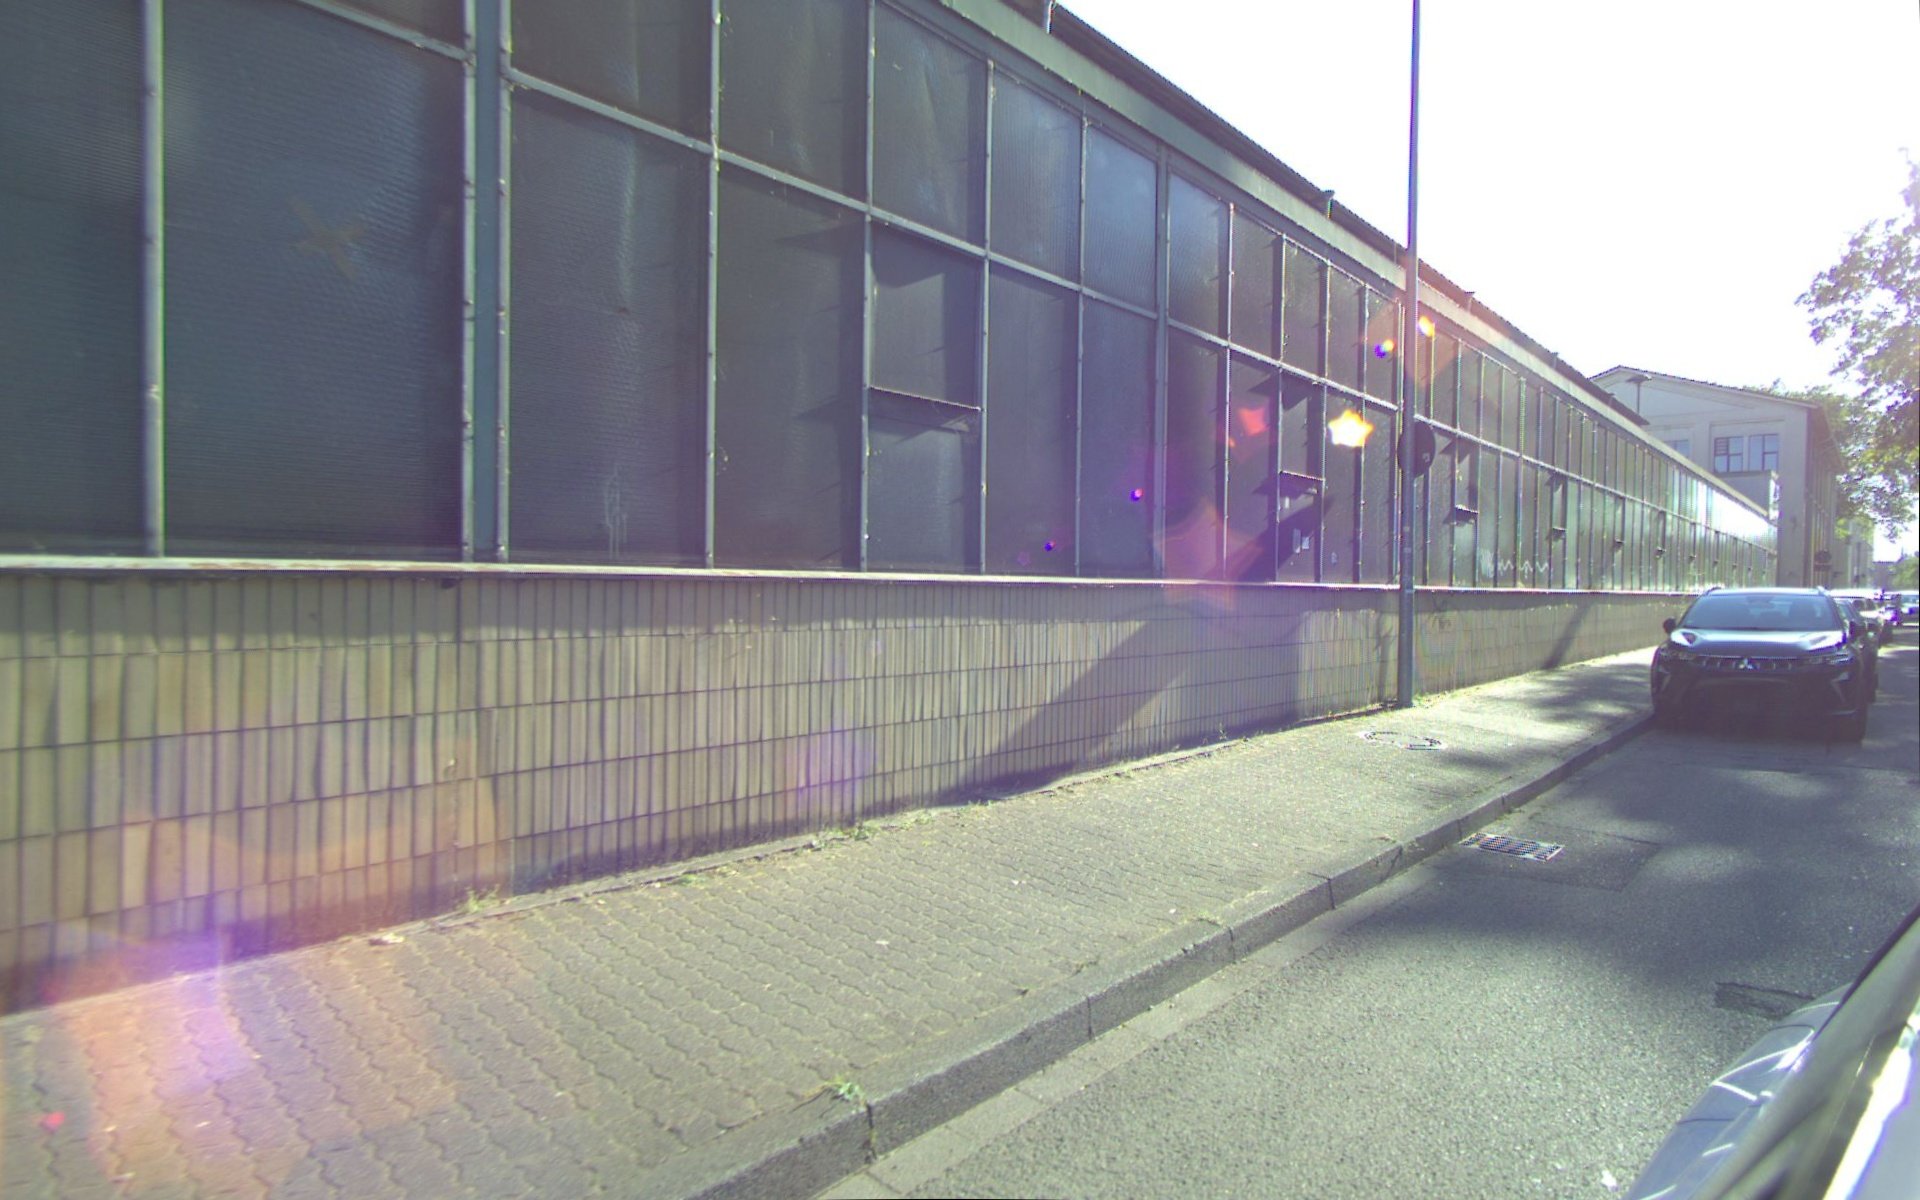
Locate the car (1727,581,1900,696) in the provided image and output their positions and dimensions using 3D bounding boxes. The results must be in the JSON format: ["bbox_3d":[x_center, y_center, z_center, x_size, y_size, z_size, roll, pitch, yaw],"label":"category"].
[{"bbox_3d":[13.290,0.467,15.656,1.751,1.509,4.548,2,2,44],"label":"car"}]

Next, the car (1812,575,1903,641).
[{"bbox_3d":[25.059,0.166,28.311,1.749,1.655,3.942,3,3,41],"label":"car"}]

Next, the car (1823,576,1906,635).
[{"bbox_3d":[28.130,0.108,31.437,1.751,1.655,4.242,3,3,43],"label":"car"}]

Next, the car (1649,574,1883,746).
[{"bbox_3d":[9.409,0.517,11.704,1.806,1.607,4.338,1,2,42],"label":"car"}]
